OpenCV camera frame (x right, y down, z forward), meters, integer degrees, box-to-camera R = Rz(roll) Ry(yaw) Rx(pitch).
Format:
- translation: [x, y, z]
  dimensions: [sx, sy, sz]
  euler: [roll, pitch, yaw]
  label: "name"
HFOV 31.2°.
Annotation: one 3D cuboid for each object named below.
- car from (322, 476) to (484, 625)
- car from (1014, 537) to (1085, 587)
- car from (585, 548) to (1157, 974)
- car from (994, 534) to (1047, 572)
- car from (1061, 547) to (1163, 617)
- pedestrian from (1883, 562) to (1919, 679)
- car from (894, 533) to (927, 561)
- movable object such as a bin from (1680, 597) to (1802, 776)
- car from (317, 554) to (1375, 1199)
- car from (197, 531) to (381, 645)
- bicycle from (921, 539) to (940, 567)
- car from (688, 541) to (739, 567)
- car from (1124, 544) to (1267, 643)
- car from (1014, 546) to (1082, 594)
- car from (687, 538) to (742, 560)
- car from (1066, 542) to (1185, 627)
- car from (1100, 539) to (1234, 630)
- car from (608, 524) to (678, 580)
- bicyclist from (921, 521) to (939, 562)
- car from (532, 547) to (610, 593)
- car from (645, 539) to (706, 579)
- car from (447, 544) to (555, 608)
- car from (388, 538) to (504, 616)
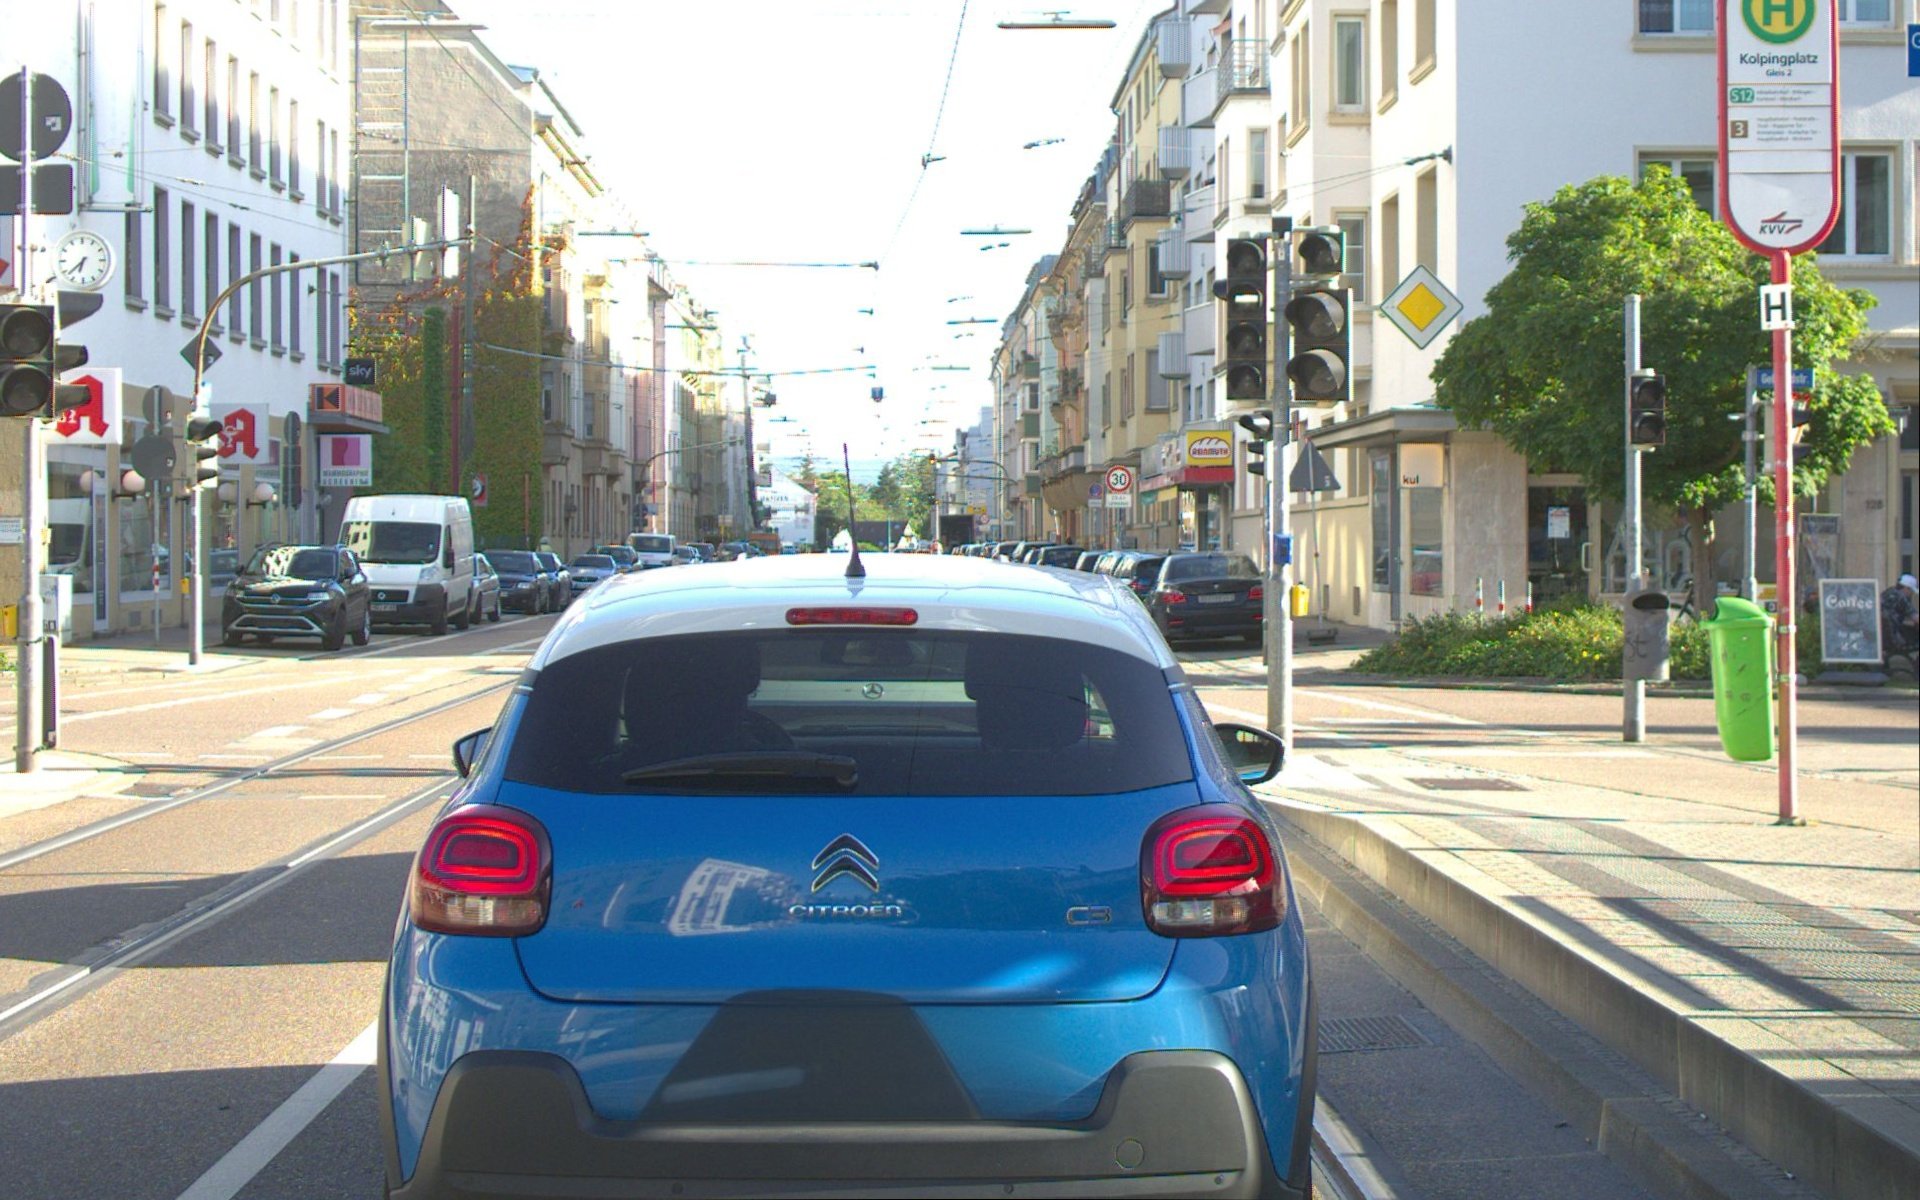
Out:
- translation: [-10.081, -0.907, 62.656]
  dimensions: [2.085, 2.533, 6.206]
  euler: [1, 1, -2]
  label: "car"
- translation: [2.647, -1.140, 102.048]
  dimensions: [1.993, 1.459, 4.504]
  euler: [0, 1, 0]
  label: "car"
- translation: [-0.347, 0.530, 14.476]
  dimensions: [1.984, 1.459, 4.816]
  euler: [1, 1, -1]
  label: "car"
- translation: [2.319, -1.825, 133.253]
  dimensions: [1.993, 1.459, 4.000]
  euler: [0, 1, 0]
  label: "car"
- translation: [3.196, -0.400, 73.167]
  dimensions: [1.993, 1.459, 4.000]
  euler: [0, 1, 0]
  label: "car"
- translation: [10.911, 0.225, 39.033]
  dimensions: [0.741, 1.311, 0.627]
  euler: [0, 1, 23]
  label: "pedestrian"
- translation: [-3.027, -3.270, 211.754]
  dimensions: [1.993, 1.766, 4.000]
  euler: [0, 1, -1]
  label: "car"
- translation: [3.514, 0.382, 15.488]
  dimensions: [0.449, 0.783, 0.489]
  euler: [0, 1, 2]
  label: "movable object such as a bin"
- translation: [-0.218, 0.657, 7.585]
  dimensions: [1.728, 1.477, 3.827]
  euler: [1, 1, -1]
  label: "car"
- translation: [-10.172, -0.193, 52.414]
  dimensions: [1.993, 1.563, 4.403]
  euler: [3, 0, -2]
  label: "car"
- translation: [-1.452, -2.317, 169.356]
  dimensions: [0.920, 1.384, 3.132]
  euler: [0, 1, 0]
  label: "bicycle"
- translation: [-11.005, -2.062, 153.967]
  dimensions: [1.993, 1.152, 4.000]
  euler: [0, 1, 0]
  label: "car"
- translation: [3.553, -0.129, 52.497]
  dimensions: [1.909, 1.459, 4.000]
  euler: [0, 1, 0]
  label: "car"
- translation: [2.698, -0.938, 106.239]
  dimensions: [1.993, 1.459, 4.000]
  euler: [0, 1, 0]
  label: "car"
- translation: [-13.202, -2.739, 184.823]
  dimensions: [1.994, 1.152, 4.513]
  euler: [0, 1, 9]
  label: "car"
- translation: [3.000, -0.306, 62.932]
  dimensions: [1.993, 1.496, 4.000]
  euler: [0, 1, 0]
  label: "car"
- translation: [3.420, -0.284, 57.333]
  dimensions: [1.993, 1.459, 4.000]
  euler: [0, 1, 0]
  label: "car"
- translation: [-11.661, -1.745, 126.769]
  dimensions: [2.006, 2.007, 4.689]
  euler: [1, 0, 1]
  label: "car"
- translation: [-1.469, -2.882, 169.120]
  dimensions: [0.809, 2.007, 0.922]
  euler: [1, 0, -1]
  label: "bicyclist"
- translation: [-11.661, -0.913, 103.197]
  dimensions: [1.993, 1.320, 3.923]
  euler: [1, 0, -2]
  label: "car"
- translation: [-11.318, -1.625, 137.055]
  dimensions: [1.955, 1.547, 3.938]
  euler: [1, 0, 2]
  label: "car"
- translation: [-10.406, -0.544, 78.141]
  dimensions: [1.993, 1.393, 4.157]
  euler: [1, 0, -2]
  label: "car"
- translation: [-10.365, -0.469, 69.491]
  dimensions: [1.888, 1.491, 3.562]
  euler: [1, 0, -2]
  label: "car"
